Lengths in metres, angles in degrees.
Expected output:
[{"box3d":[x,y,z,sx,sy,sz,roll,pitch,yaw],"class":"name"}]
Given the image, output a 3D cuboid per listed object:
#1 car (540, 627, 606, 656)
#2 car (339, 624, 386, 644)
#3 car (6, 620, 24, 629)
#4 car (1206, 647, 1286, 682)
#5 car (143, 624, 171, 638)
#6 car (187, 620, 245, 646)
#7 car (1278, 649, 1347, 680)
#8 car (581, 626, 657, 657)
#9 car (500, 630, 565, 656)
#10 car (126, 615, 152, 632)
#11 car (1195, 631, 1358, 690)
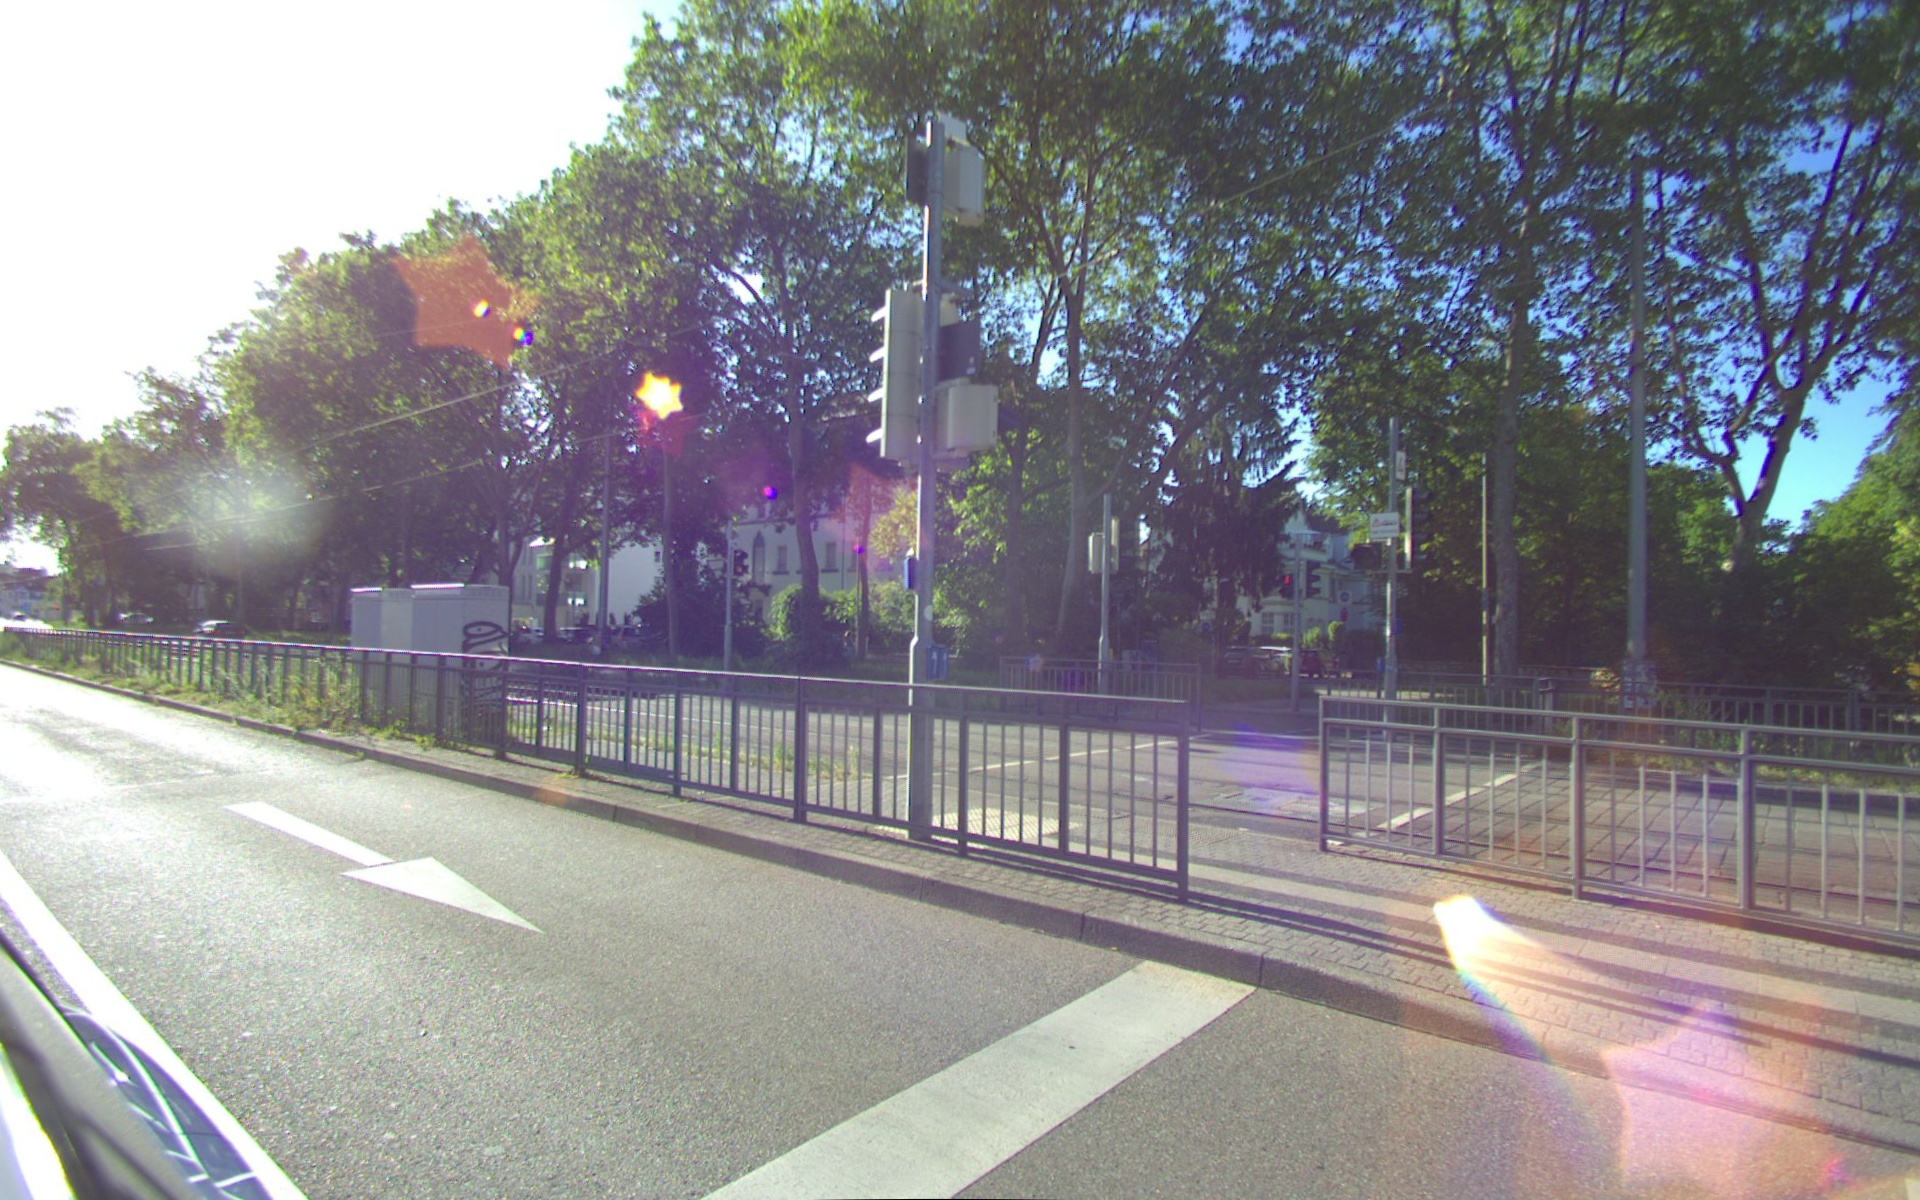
[{"box3d":[-20.866,2.199,54.528,3.696,1.476,1.756,-1,-3,42],"class":"car"},{"box3d":[-43.957,2.498,74.456,3.998,1.484,1.778,-1,-2,41],"class":"car"},{"box3d":[-178.178,4.559,190.825,4.456,1.660,1.839,-1,-2,40],"class":"car"},{"box3d":[12.832,2.844,45.305,1.999,1.429,3.945,-1,-2,41],"class":"car"},{"box3d":[-88.690,3.388,111.745,3.687,1.497,1.748,-1,-2,42],"class":"car"},{"box3d":[-44.194,1.958,60.117,4.337,1.510,1.667,-1,-2,38],"class":"car"},{"box3d":[17.936,3.225,51.399,1.999,1.429,3.945,-1,-2,41],"class":"car"},{"box3d":[-17.434,2.105,51.644,4.317,1.451,1.717,-1,-3,42],"class":"car"},{"box3d":[-24.372,2.436,57.636,4.459,1.334,1.623,-1,-4,42],"class":"car"},{"box3d":[-96.376,2.755,118.833,1.970,2.029,4.003,-1,-1,-44],"class":"car"},{"box3d":[8.994,1.679,28.941,4.141,1.521,1.652,-1,-2,40],"class":"car"}]
